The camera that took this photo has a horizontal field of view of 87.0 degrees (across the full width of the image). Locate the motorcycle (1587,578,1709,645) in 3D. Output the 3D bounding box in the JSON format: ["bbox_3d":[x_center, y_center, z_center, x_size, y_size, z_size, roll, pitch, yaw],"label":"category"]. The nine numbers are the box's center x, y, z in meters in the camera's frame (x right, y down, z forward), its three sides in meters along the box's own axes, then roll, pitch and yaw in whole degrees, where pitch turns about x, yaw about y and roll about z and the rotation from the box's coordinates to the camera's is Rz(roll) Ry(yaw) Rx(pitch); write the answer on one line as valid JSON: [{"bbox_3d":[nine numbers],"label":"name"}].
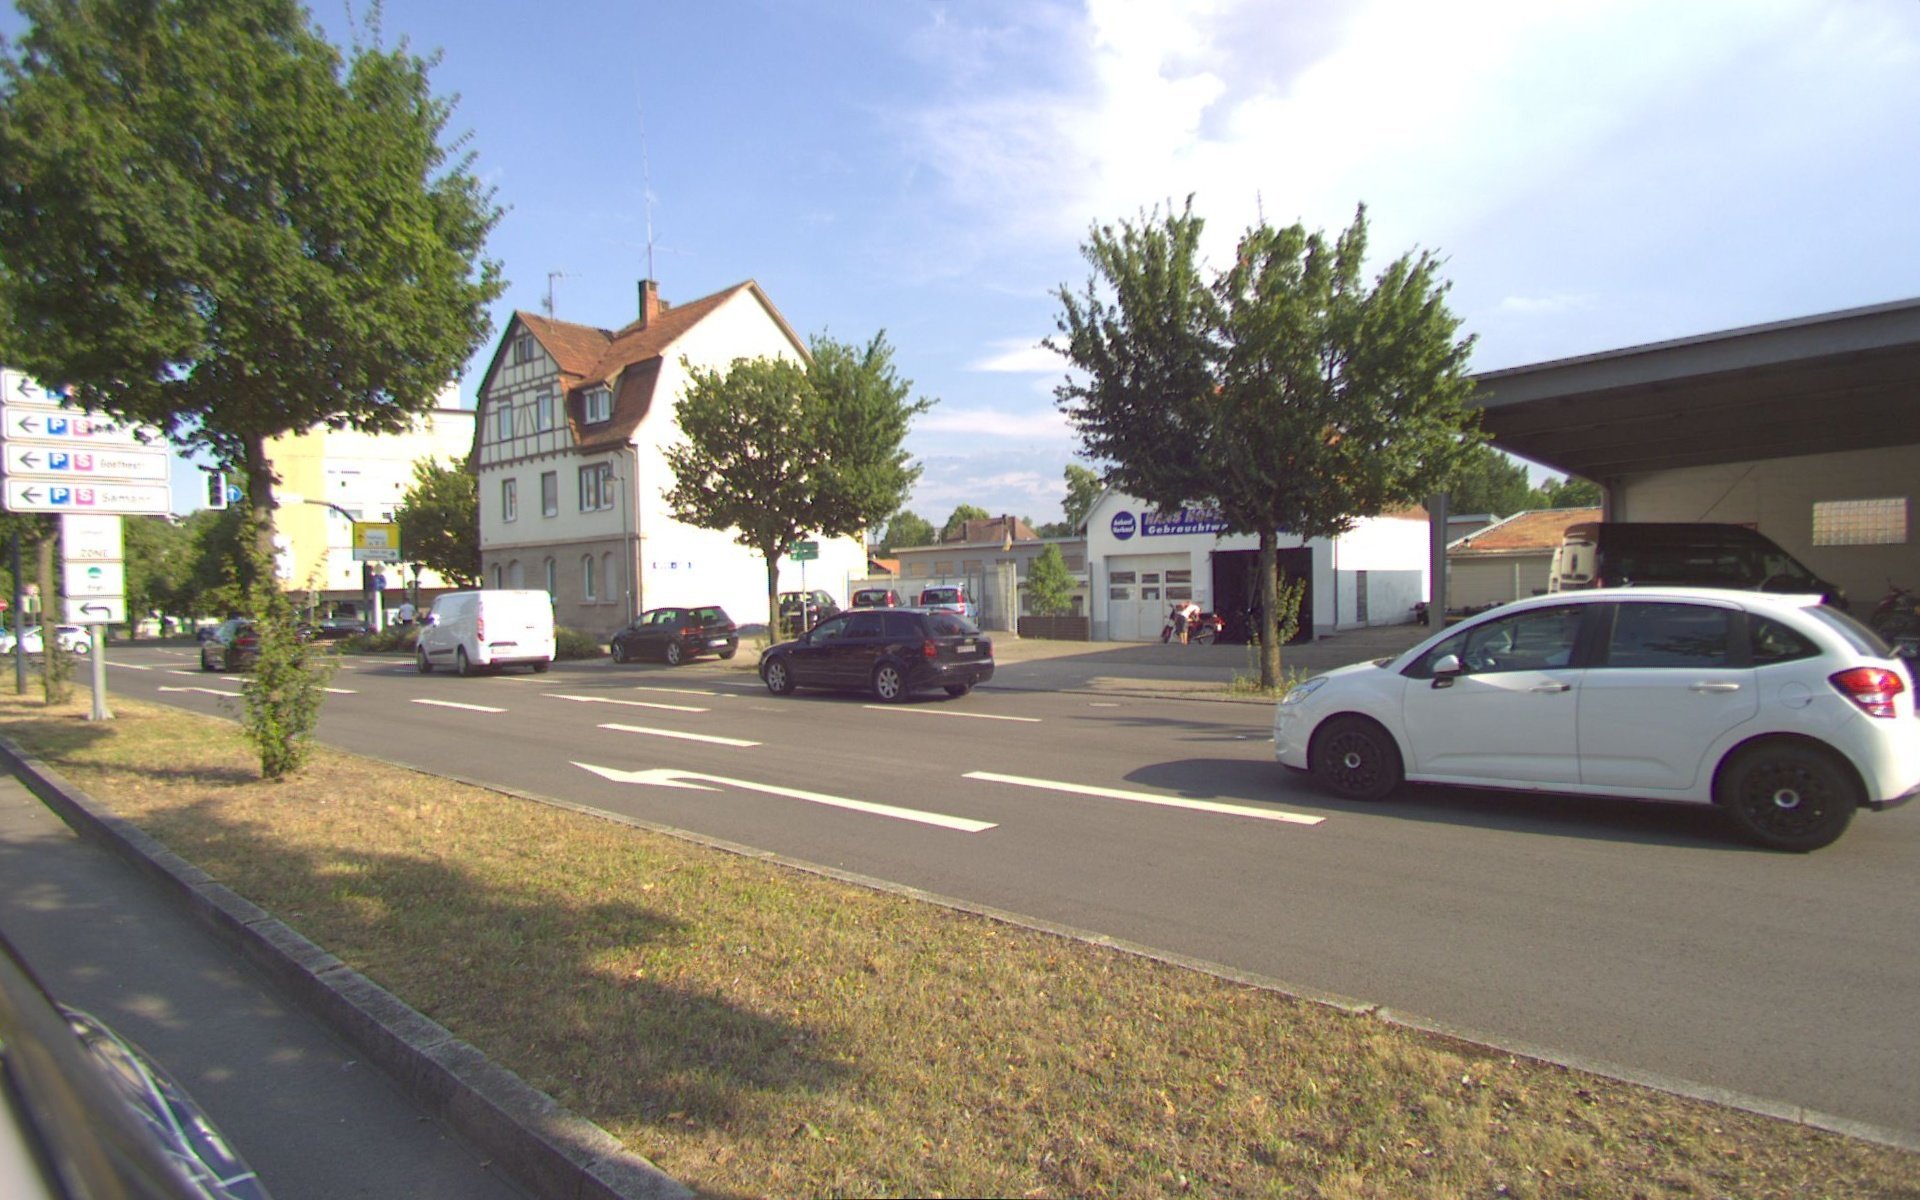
[{"bbox_3d":[14.114,0.238,20.787,1.982,1.321,0.649,-1,0,4],"label":"motorcycle"}]

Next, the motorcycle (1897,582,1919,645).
[{"bbox_3d":[19.767,0.263,19.703,0.636,1.268,2.161,-1,0,-19],"label":"motorcycle"}]

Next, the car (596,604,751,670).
[{"bbox_3d":[-7.488,0.911,26.243,4.193,1.454,1.816,-1,3,41],"label":"car"}]

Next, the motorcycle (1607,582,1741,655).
[{"bbox_3d":[13.354,0.347,18.964,1.982,1.321,0.649,-1,0,4],"label":"motorcycle"}]

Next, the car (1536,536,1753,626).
[{"bbox_3d":[18.407,-0.483,27.395,4.325,2.266,2.201,-1,0,0],"label":"car"}]

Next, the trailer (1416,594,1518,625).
[{"bbox_3d":[16.796,0.312,33.487,2.448,0.831,3.152,-1,2,38],"label":"trailer"}]

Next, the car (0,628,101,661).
[{"bbox_3d":[-44.269,2.116,48.718,1.758,1.364,4.094,-1,0,27],"label":"car"}]

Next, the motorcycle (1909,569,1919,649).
[{"bbox_3d":[18.141,0.149,17.736,0.584,1.459,2.161,-1,0,-19],"label":"motorcycle"}]

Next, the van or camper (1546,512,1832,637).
[{"bbox_3d":[16.930,-0.538,23.805,4.988,2.700,1.992,-1,0,13],"label":"van or camper"}]

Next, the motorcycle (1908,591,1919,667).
[{"bbox_3d":[14.838,0.420,14.211,0.620,1.132,2.161,-1,0,-19],"label":"motorcycle"}]

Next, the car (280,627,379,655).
[{"bbox_3d":[-35.994,2.314,57.822,4.595,1.364,1.770,-1,0,-41],"label":"car"}]

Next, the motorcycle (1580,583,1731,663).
[{"bbox_3d":[11.892,0.395,17.374,1.991,1.321,0.666,-1,0,18],"label":"motorcycle"}]

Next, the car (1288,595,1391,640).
[{"bbox_3d":[13.019,0.560,34.579,1.886,1.395,4.026,-1,0,43],"label":"car"}]

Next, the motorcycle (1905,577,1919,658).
[{"bbox_3d":[16.472,0.280,16.034,0.553,1.340,2.161,-1,0,-19],"label":"motorcycle"}]

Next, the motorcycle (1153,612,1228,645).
[{"bbox_3d":[6.713,0.830,29.548,2.212,0.927,0.500,-1,0,45],"label":"motorcycle"}]

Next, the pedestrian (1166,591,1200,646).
[{"bbox_3d":[6.398,0.528,29.018,0.643,1.535,0.675,-1,0,-42],"label":"pedestrian"}]

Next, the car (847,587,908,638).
[{"bbox_3d":[-2.672,0.397,33.491,1.743,1.564,4.000,-1,0,-1],"label":"car"}]

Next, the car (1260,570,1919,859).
[{"bbox_3d":[4.350,0.609,7.036,3.954,1.508,1.782,-1,0,41],"label":"car"}]

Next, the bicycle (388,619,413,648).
[{"bbox_3d":[-24.601,1.448,44.480,0.671,1.231,1.516,-1,0,-41],"label":"bicycle"}]

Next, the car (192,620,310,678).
[{"bbox_3d":[-19.870,1.308,28.293,4.105,1.462,1.751,-1,0,41],"label":"car"}]

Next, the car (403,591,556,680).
[{"bbox_3d":[-11.749,0.809,24.588,1.802,1.938,4.947,-1,0,-45],"label":"car"}]

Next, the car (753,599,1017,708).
[{"bbox_3d":[-1.301,0.774,16.253,4.244,1.508,1.788,-1,0,41],"label":"car"}]

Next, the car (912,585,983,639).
[{"bbox_3d":[-0.331,0.345,31.865,1.746,1.564,3.992,-1,0,6],"label":"car"}]

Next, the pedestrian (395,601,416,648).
[{"bbox_3d":[-23.928,1.067,43.673,0.689,1.997,0.589,-1,0,-40],"label":"pedestrian"}]

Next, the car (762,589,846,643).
[{"bbox_3d":[-5.136,0.475,33.753,1.746,1.563,3.993,-2,1,7],"label":"car"}]

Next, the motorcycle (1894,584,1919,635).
[{"bbox_3d":[21.514,0.203,21.694,0.553,1.131,2.161,-1,0,-19],"label":"motorcycle"}]
